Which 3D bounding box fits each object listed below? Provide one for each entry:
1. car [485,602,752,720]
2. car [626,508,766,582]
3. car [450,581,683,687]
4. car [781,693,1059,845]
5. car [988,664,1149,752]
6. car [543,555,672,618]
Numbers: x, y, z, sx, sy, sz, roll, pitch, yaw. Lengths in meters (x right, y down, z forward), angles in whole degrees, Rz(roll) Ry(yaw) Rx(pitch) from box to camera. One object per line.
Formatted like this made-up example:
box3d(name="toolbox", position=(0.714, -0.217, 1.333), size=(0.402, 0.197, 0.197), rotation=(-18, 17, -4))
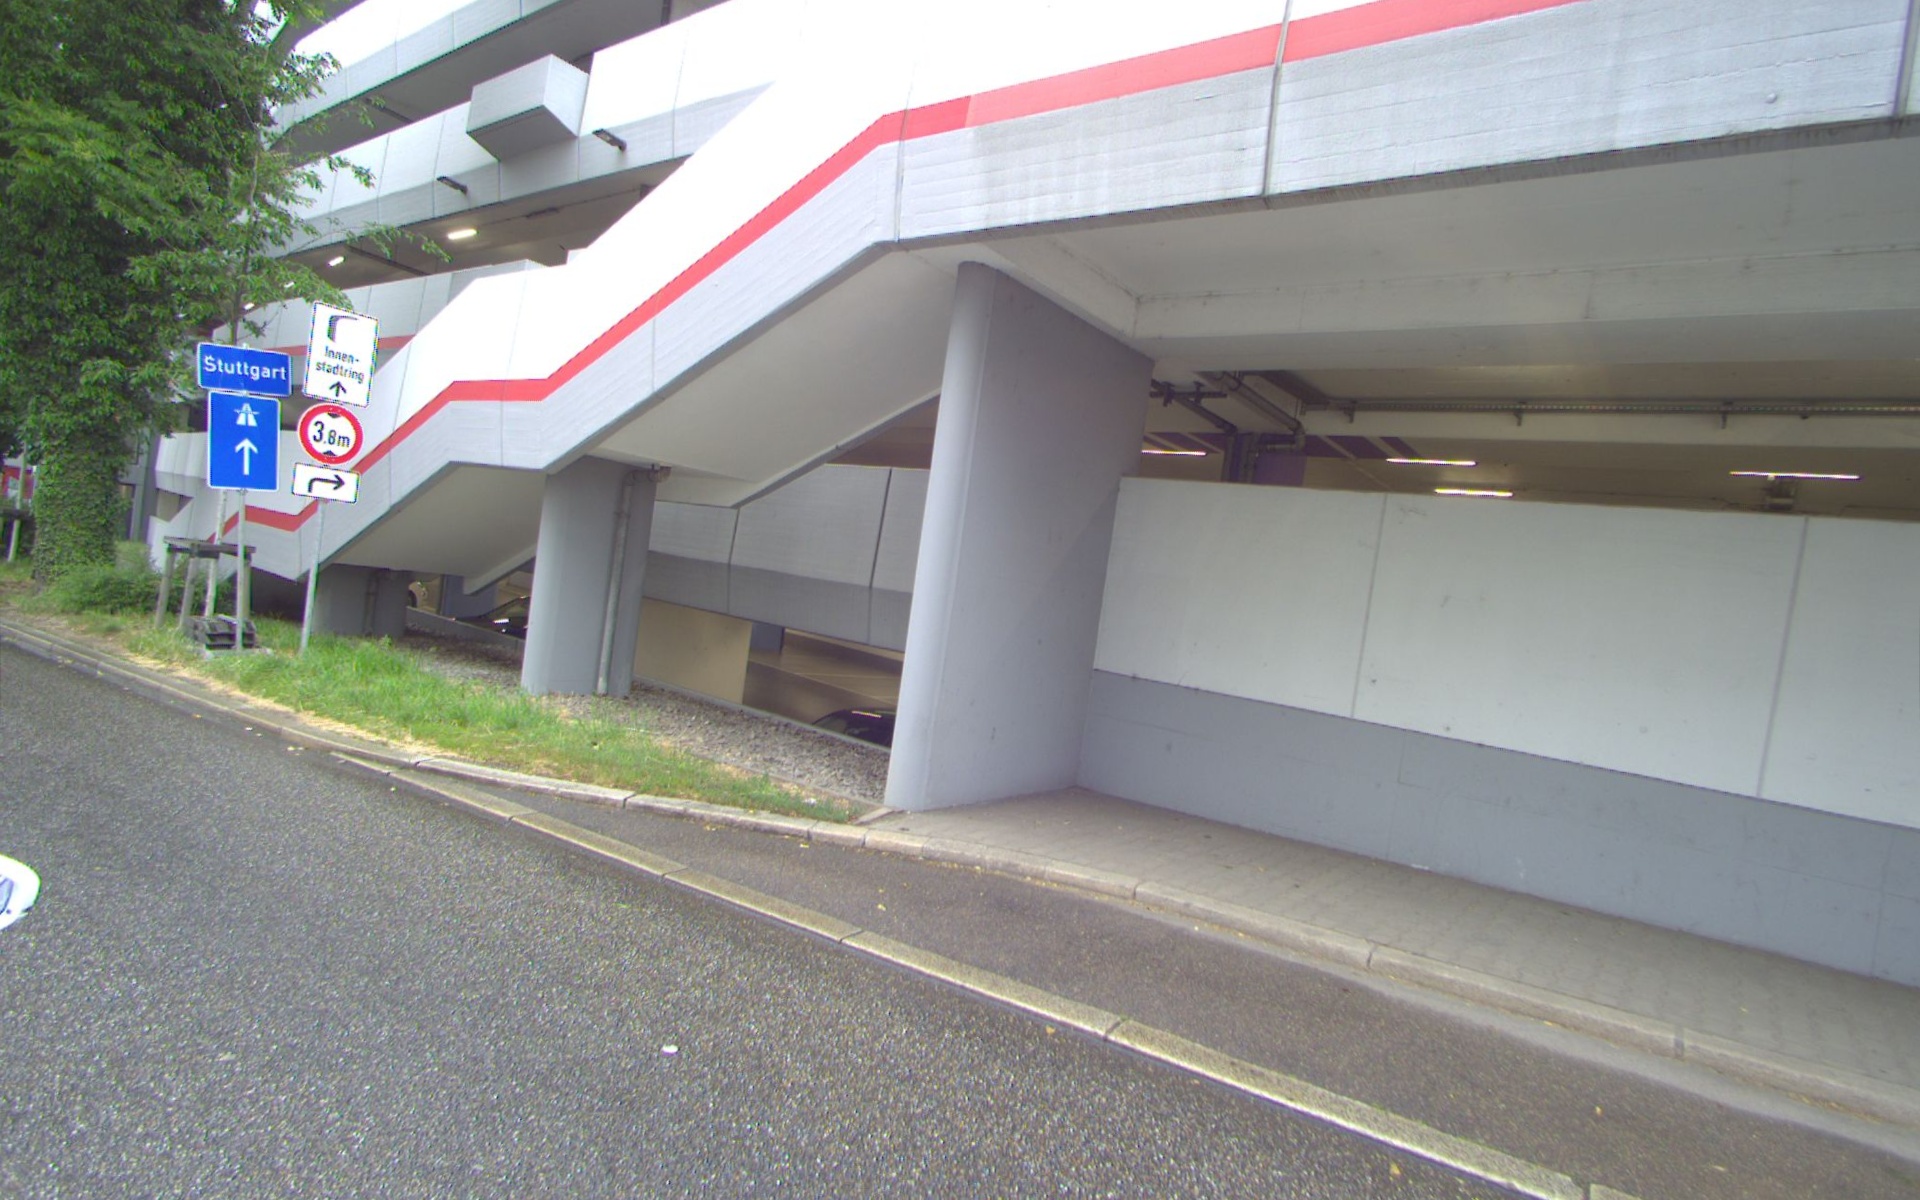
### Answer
box3d(name="car", position=(-5.837, 1.128, 17.621), size=(1.810, 1.643, 3.988), rotation=(7, -1, 36))
box3d(name="car", position=(-8.633, -1.786, 33.150), size=(1.792, 1.804, 3.979), rotation=(7, 0, 44))
box3d(name="car", position=(-7.642, 0.720, 19.804), size=(1.782, 1.559, 3.734), rotation=(11, 2, 37))
box3d(name="car", position=(-0.448, 2.351, 14.723), size=(1.810, 1.559, 3.931), rotation=(11, 2, 37))
box3d(name="car", position=(2.655, 2.548, 23.777), size=(1.810, 1.559, 3.988), rotation=(11, 2, 37))
box3d(name="car", position=(-13.000, -0.472, 37.239), size=(1.792, 1.804, 3.979), rotation=(7, 0, 44))
